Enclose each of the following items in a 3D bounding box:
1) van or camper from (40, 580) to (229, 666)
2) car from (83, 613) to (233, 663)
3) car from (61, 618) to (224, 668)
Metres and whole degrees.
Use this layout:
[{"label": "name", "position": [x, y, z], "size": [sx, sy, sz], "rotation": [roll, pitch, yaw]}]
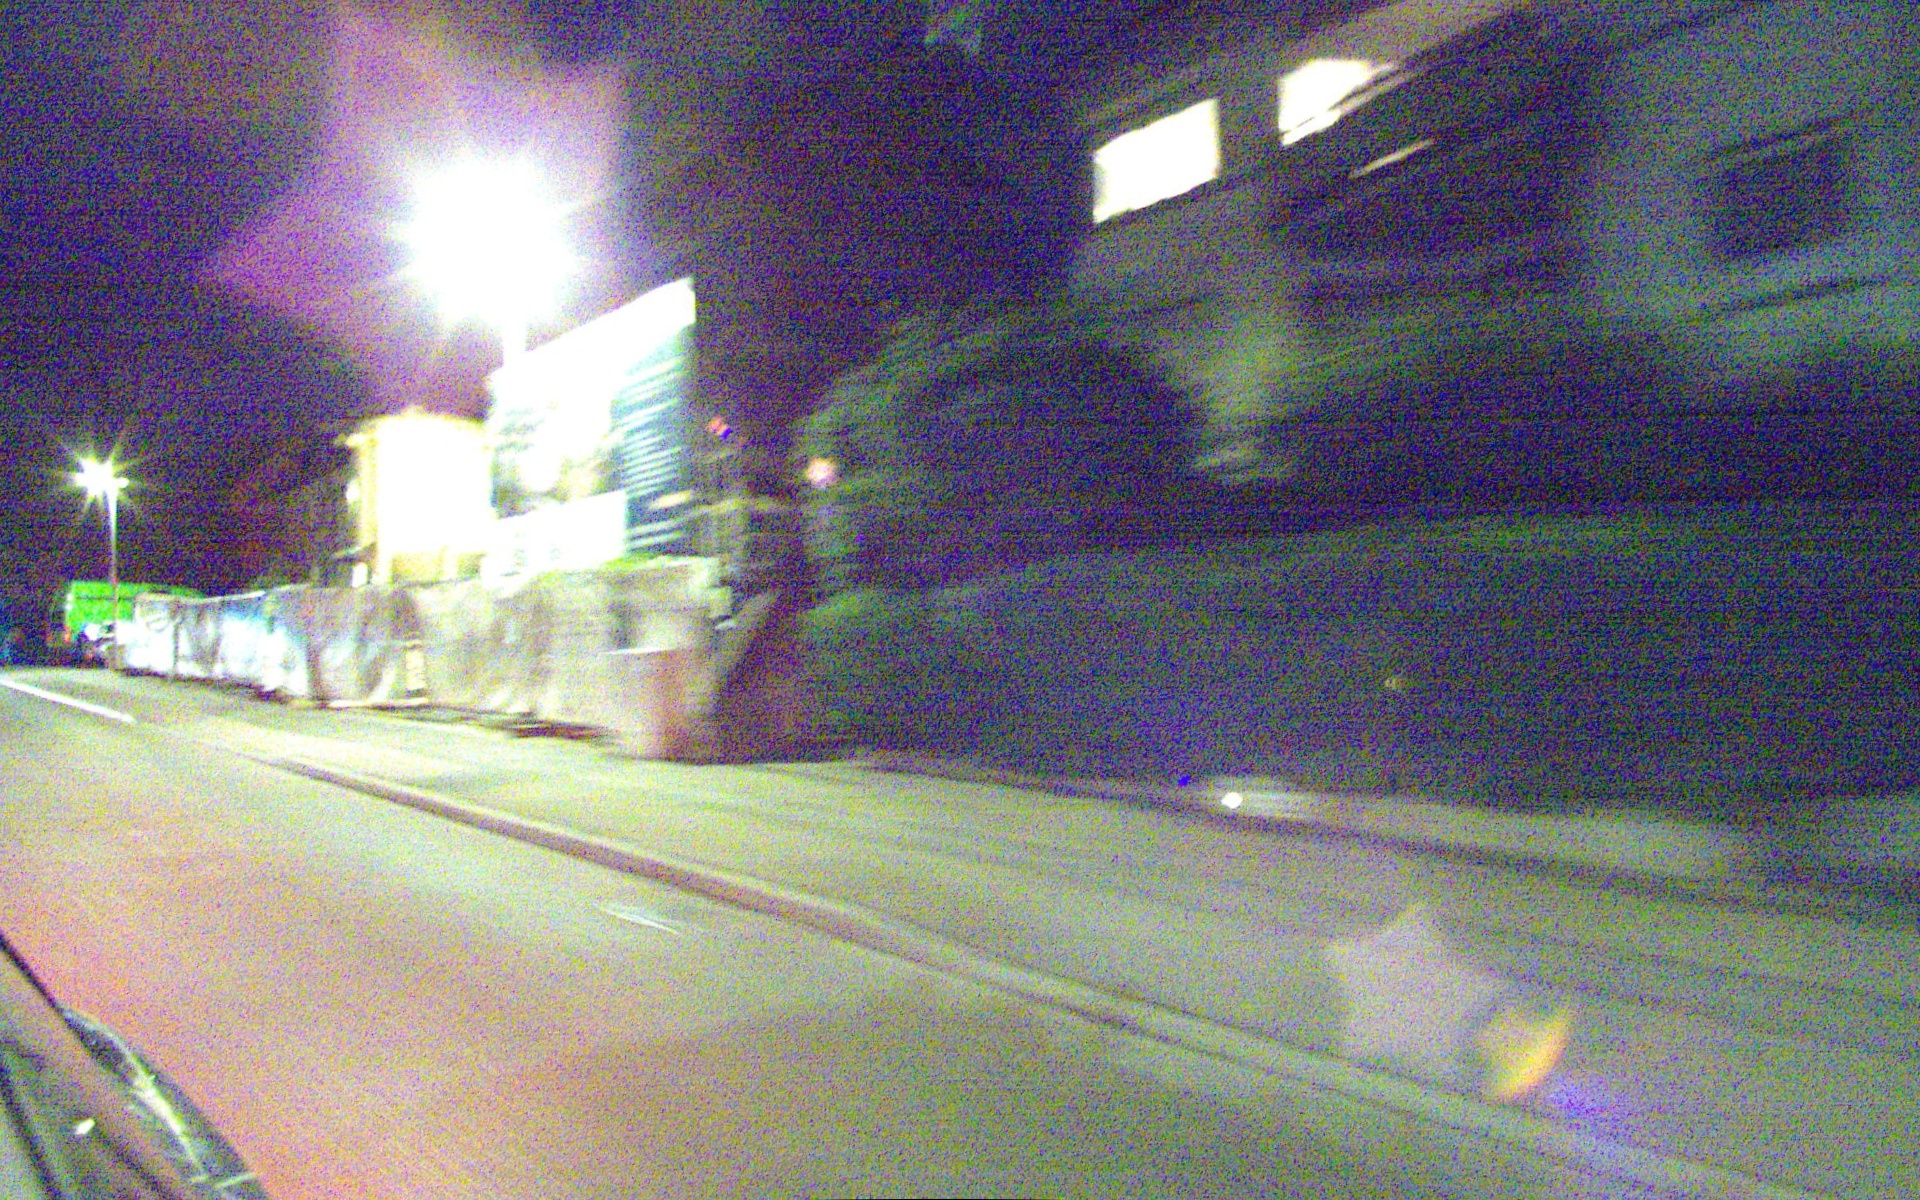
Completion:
[{"label": "van or camper", "position": [-32.230, 0.894, 39.717], "size": [2.125, 3.134, 5.359], "rotation": [-1, -1, 31]}, {"label": "car", "position": [-27.666, 1.292, 34.970], "size": [1.926, 1.567, 3.772], "rotation": [-4, -2, 40]}, {"label": "car", "position": [-29.733, 1.517, 36.893], "size": [2.065, 1.625, 4.370], "rotation": [-2, -1, 42]}]
